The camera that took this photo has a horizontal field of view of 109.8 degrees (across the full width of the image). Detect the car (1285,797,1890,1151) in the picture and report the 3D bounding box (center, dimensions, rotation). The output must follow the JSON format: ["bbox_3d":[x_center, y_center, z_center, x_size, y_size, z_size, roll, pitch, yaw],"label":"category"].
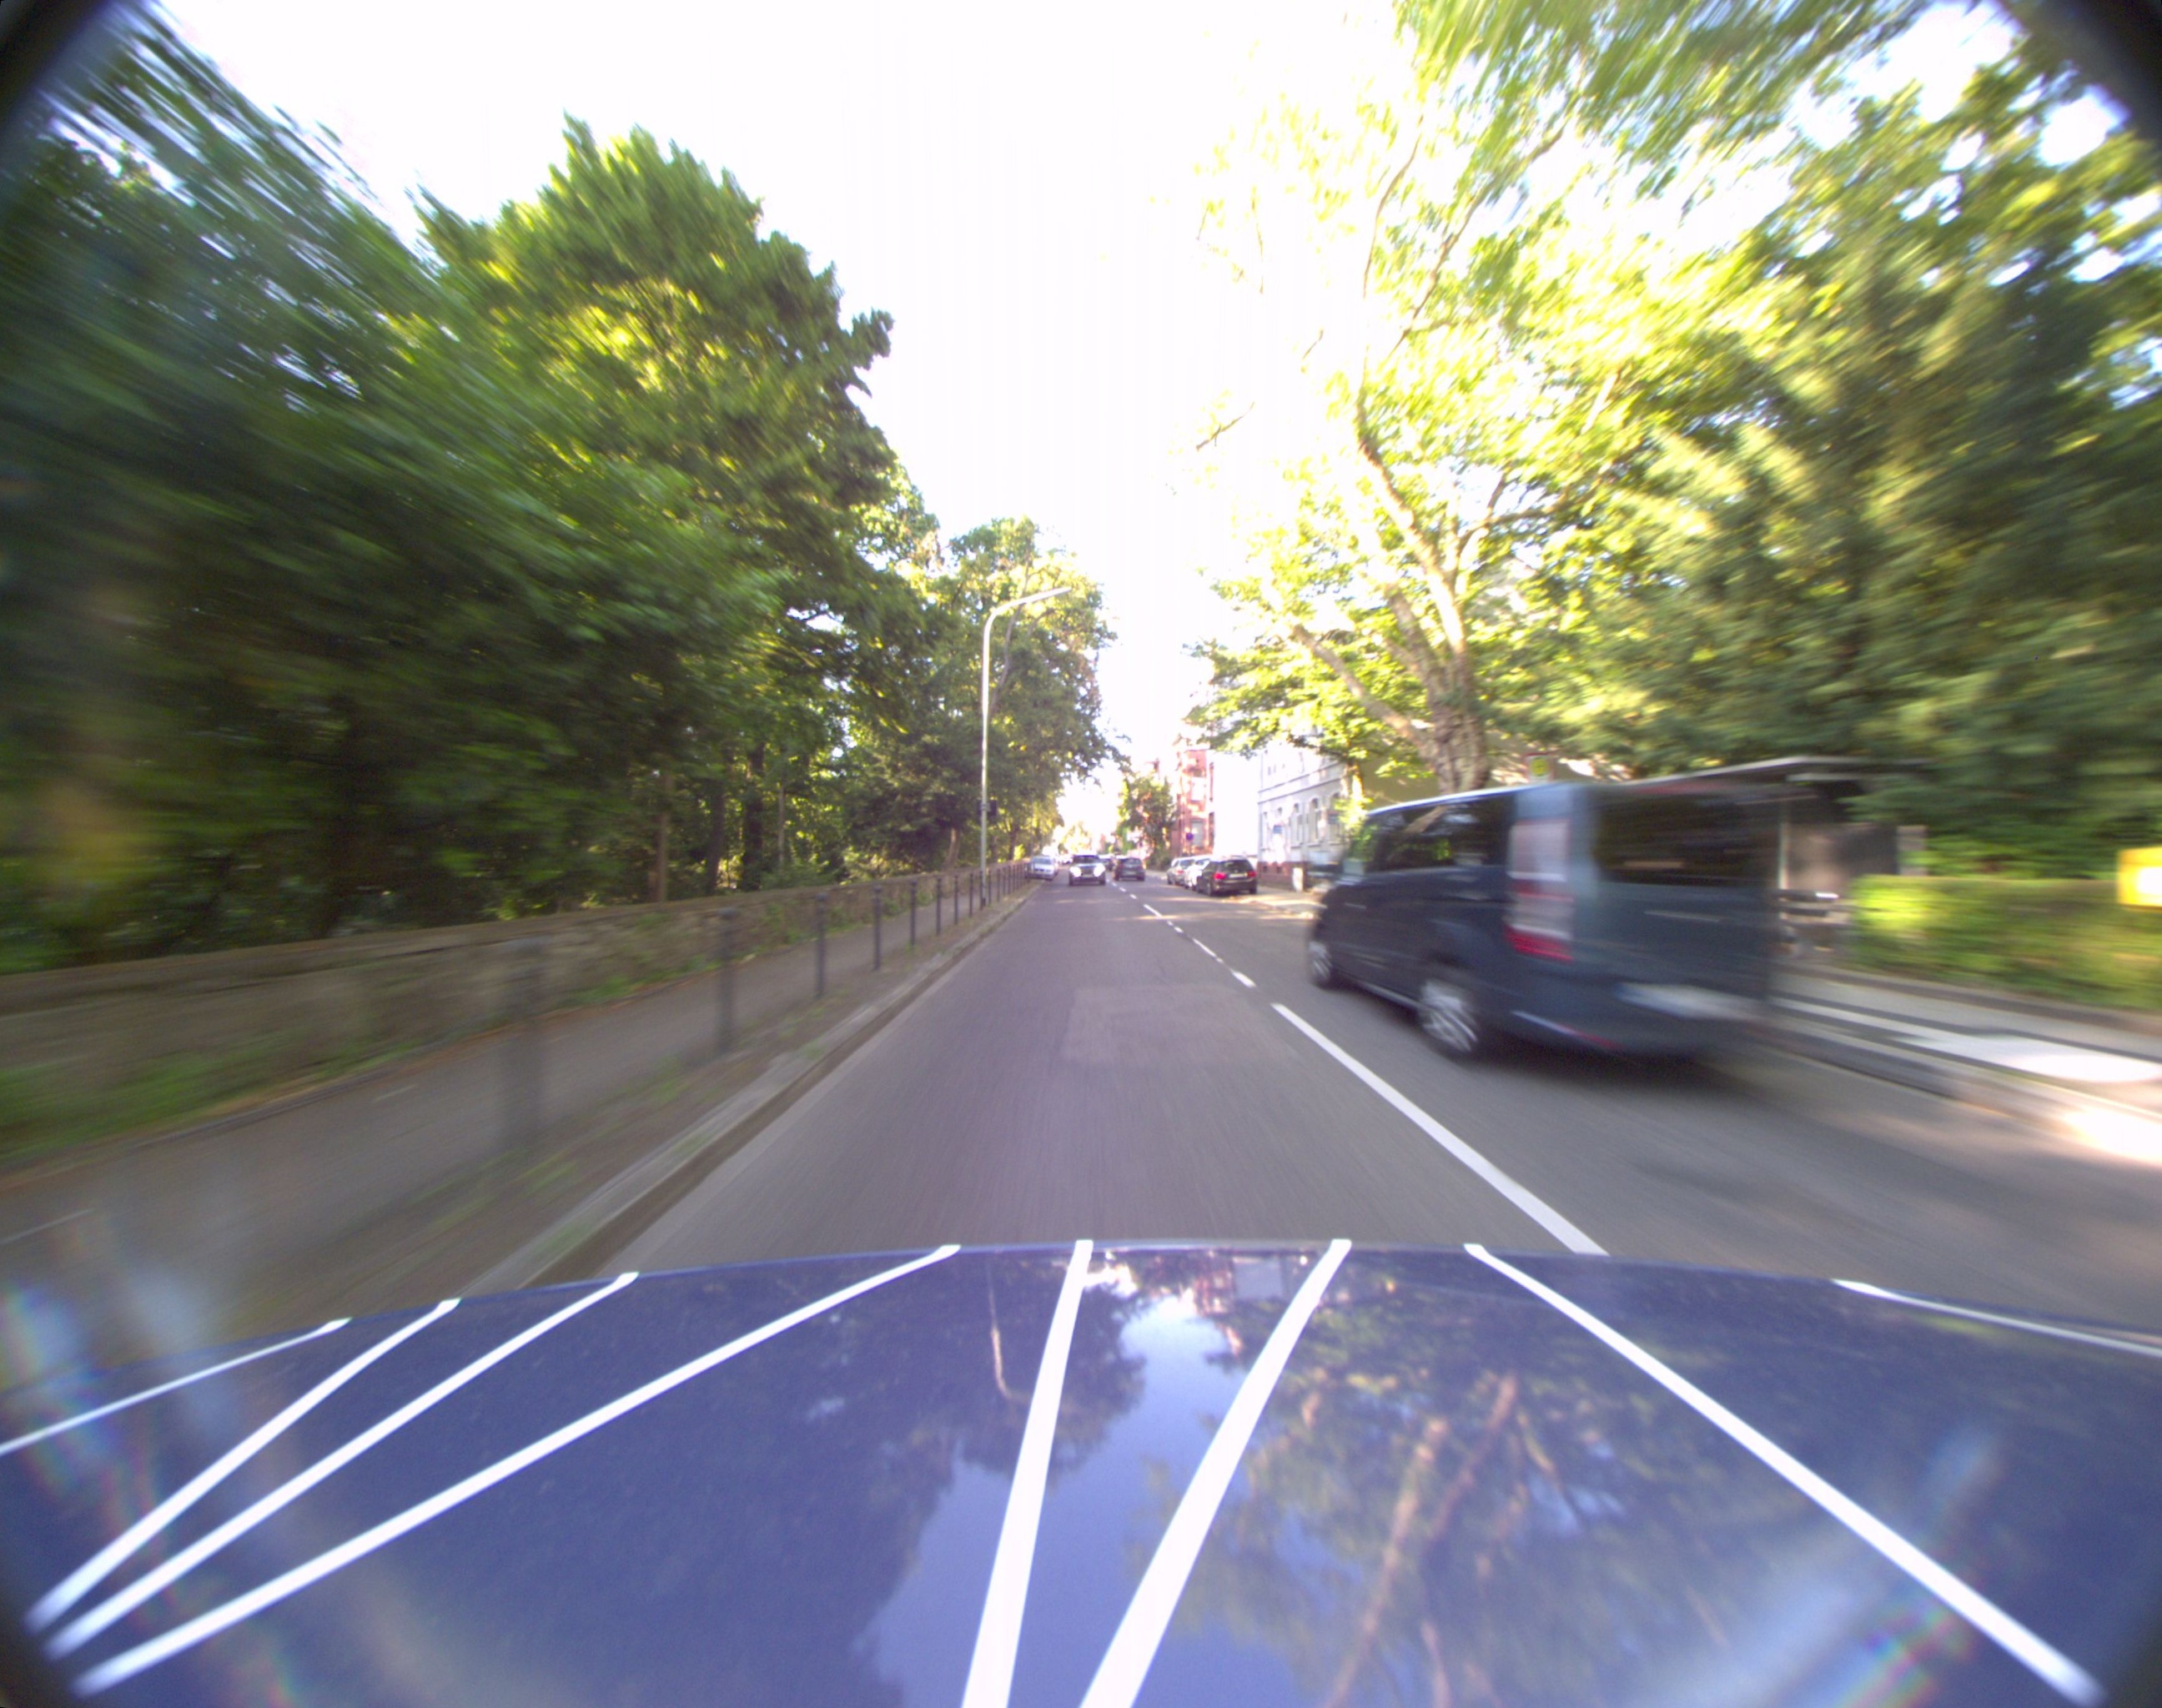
[{"bbox_3d":[3.493,0.685,6.661,1.999,1.957,4.777,1,0,-1],"label":"car"}]

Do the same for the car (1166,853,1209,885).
[{"bbox_3d":[5.432,0.737,39.067,1.628,1.426,3.559,-3,0,-1],"label":"car"}]

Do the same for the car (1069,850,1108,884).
[{"bbox_3d":[0.458,0.640,39.933,1.936,1.676,4.433,0,0,2],"label":"car"}]

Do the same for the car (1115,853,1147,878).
[{"bbox_3d":[2.962,0.670,45.800,1.628,1.425,3.559,1,0,-1],"label":"car"}]

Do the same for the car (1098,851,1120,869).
[{"bbox_3d":[2.742,0.567,73.250,1.874,1.608,4.001,-3,0,5],"label":"car"}]

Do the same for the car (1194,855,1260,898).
[{"bbox_3d":[5.474,0.788,28.839,1.689,1.425,3.615,-4,0,-1],"label":"car"}]

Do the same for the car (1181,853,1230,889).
[{"bbox_3d":[5.493,0.728,33.877,1.628,1.537,3.321,0,0,-1],"label":"car"}]

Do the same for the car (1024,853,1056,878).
[{"bbox_3d":[-2.577,0.701,47.161,1.824,1.375,3.933,3,1,-4],"label":"car"}]

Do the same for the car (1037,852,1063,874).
[{"bbox_3d":[-2.501,0.673,60.028,1.861,1.568,3.998,-3,1,-4],"label":"car"}]
